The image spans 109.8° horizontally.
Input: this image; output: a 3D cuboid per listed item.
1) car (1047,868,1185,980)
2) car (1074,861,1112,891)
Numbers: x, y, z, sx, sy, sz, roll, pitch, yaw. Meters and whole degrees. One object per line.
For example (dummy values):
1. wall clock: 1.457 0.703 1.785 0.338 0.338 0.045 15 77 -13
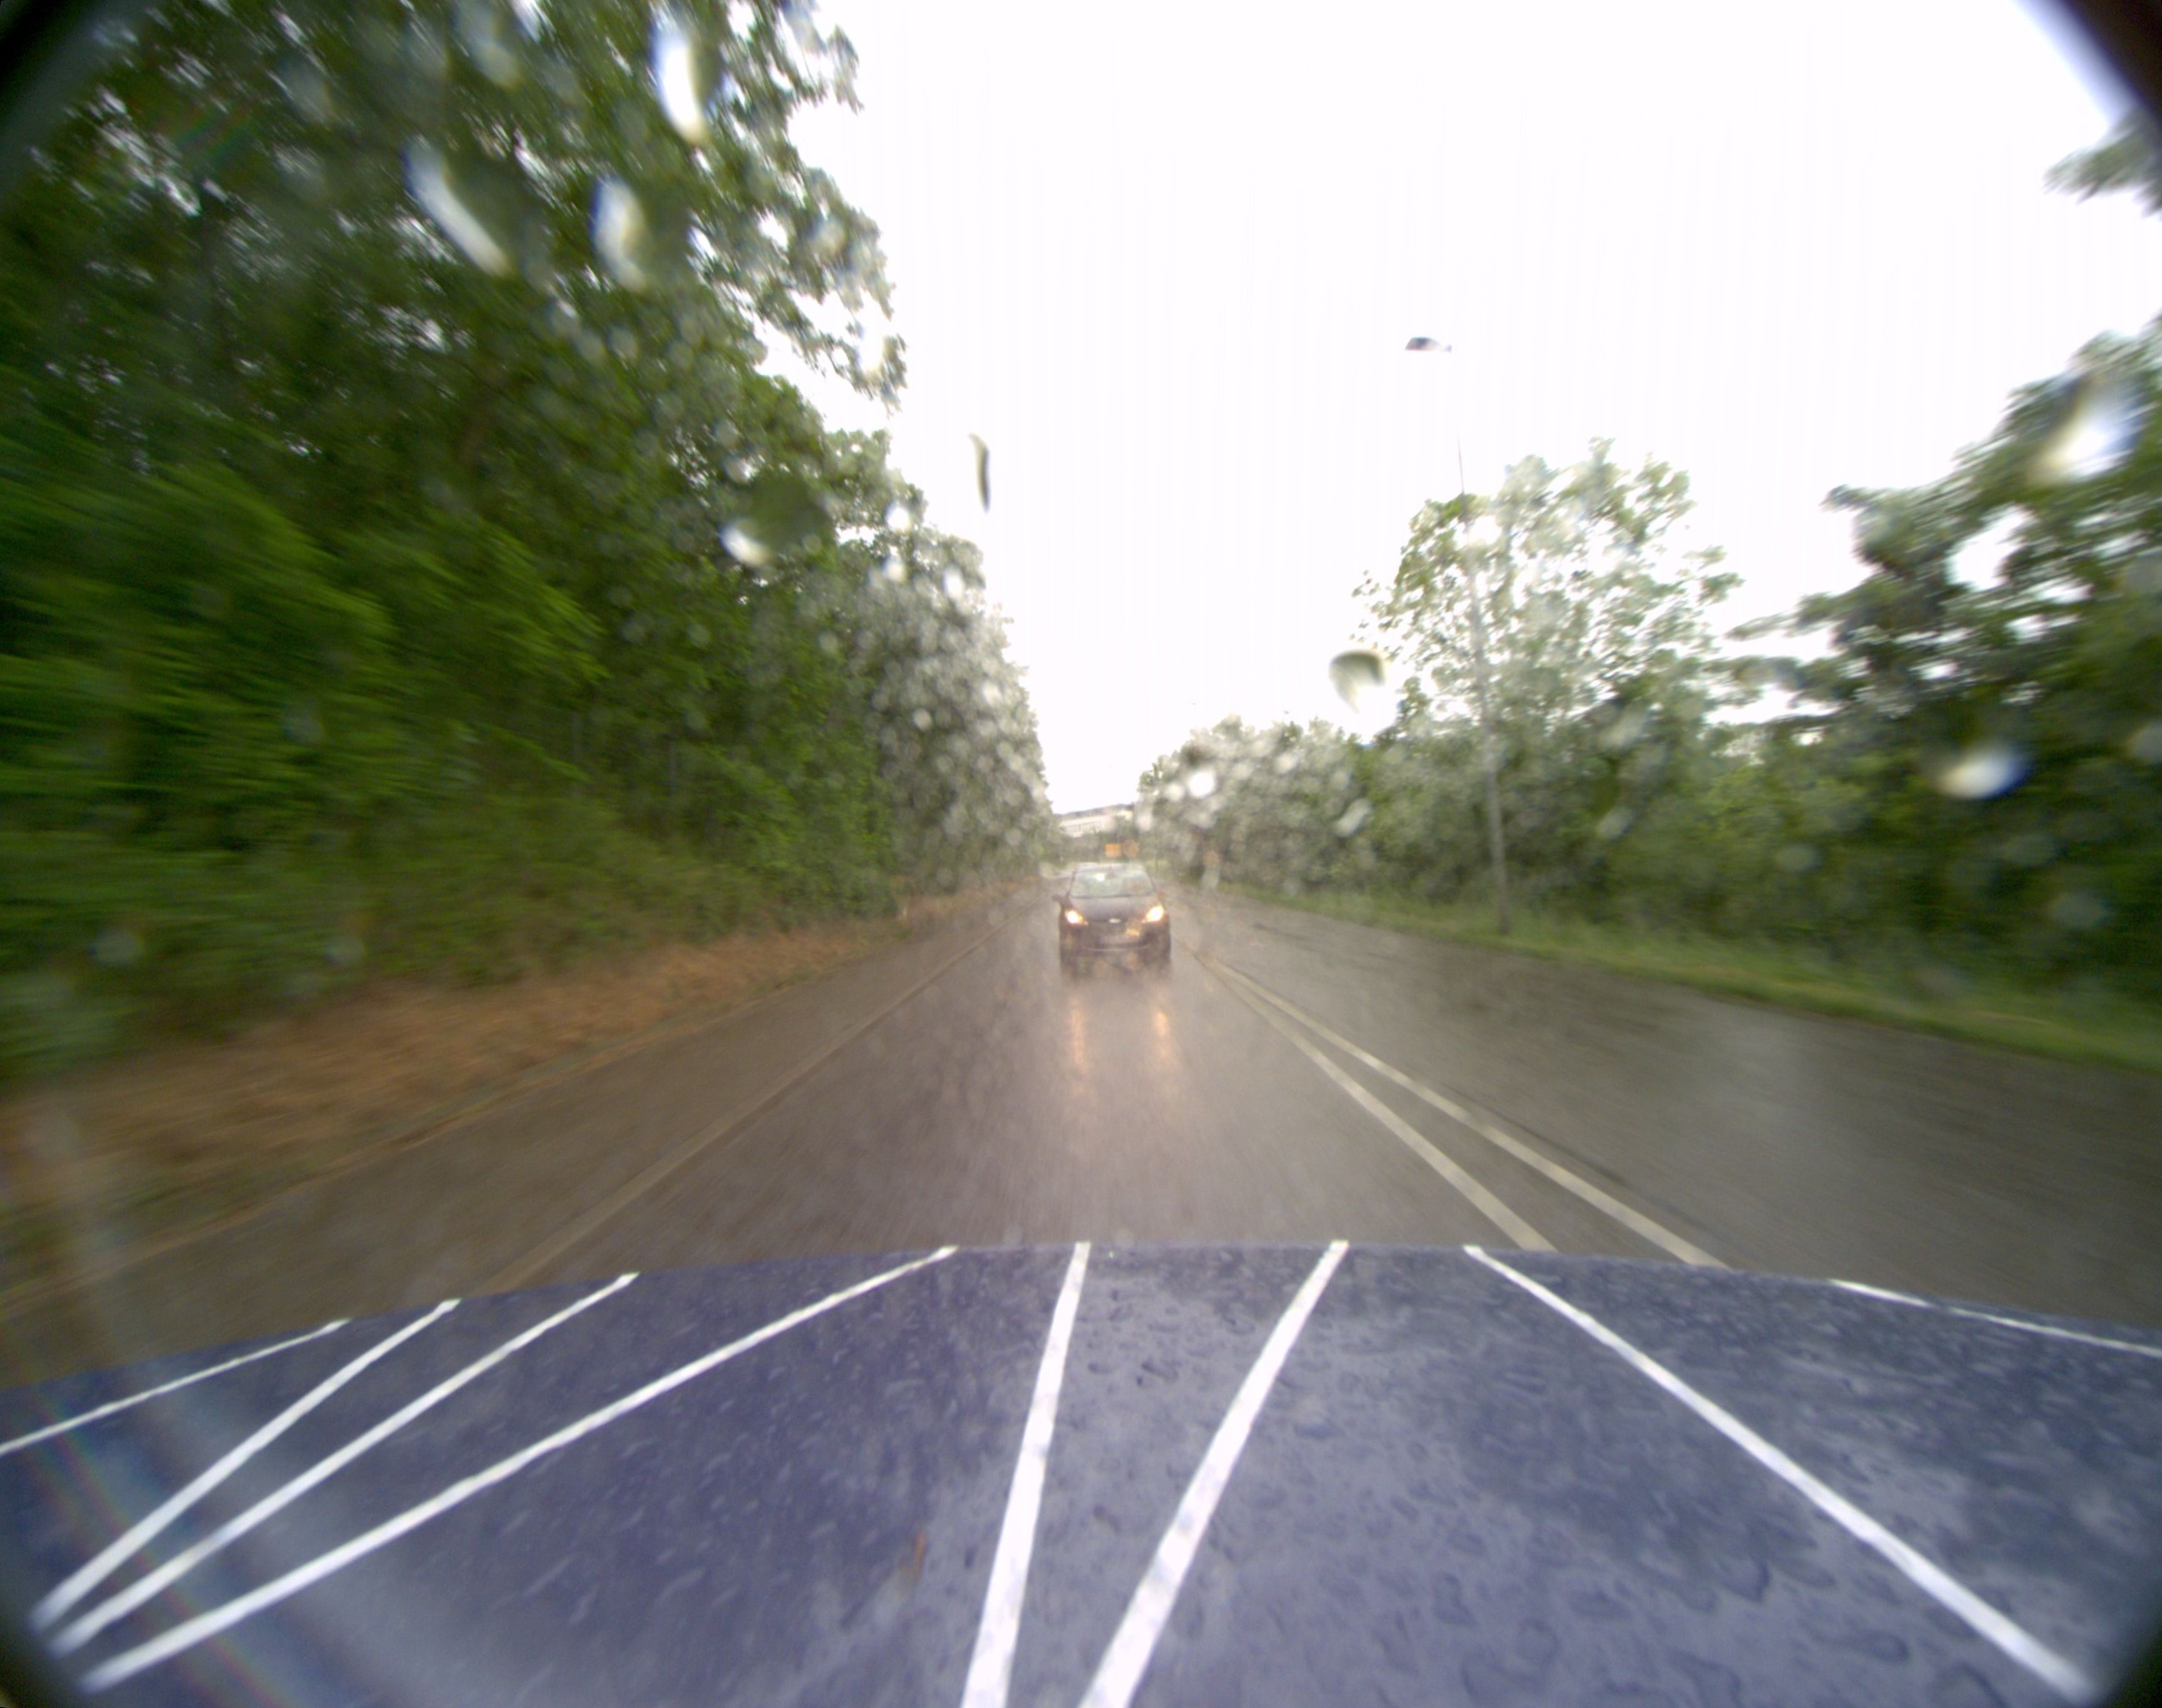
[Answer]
1. car: 0.451 1.016 12.802 1.874 1.432 4.377 -3 -1 -1
2. car: 0.600 1.157 41.180 1.874 1.432 4.377 -3 0 -1
